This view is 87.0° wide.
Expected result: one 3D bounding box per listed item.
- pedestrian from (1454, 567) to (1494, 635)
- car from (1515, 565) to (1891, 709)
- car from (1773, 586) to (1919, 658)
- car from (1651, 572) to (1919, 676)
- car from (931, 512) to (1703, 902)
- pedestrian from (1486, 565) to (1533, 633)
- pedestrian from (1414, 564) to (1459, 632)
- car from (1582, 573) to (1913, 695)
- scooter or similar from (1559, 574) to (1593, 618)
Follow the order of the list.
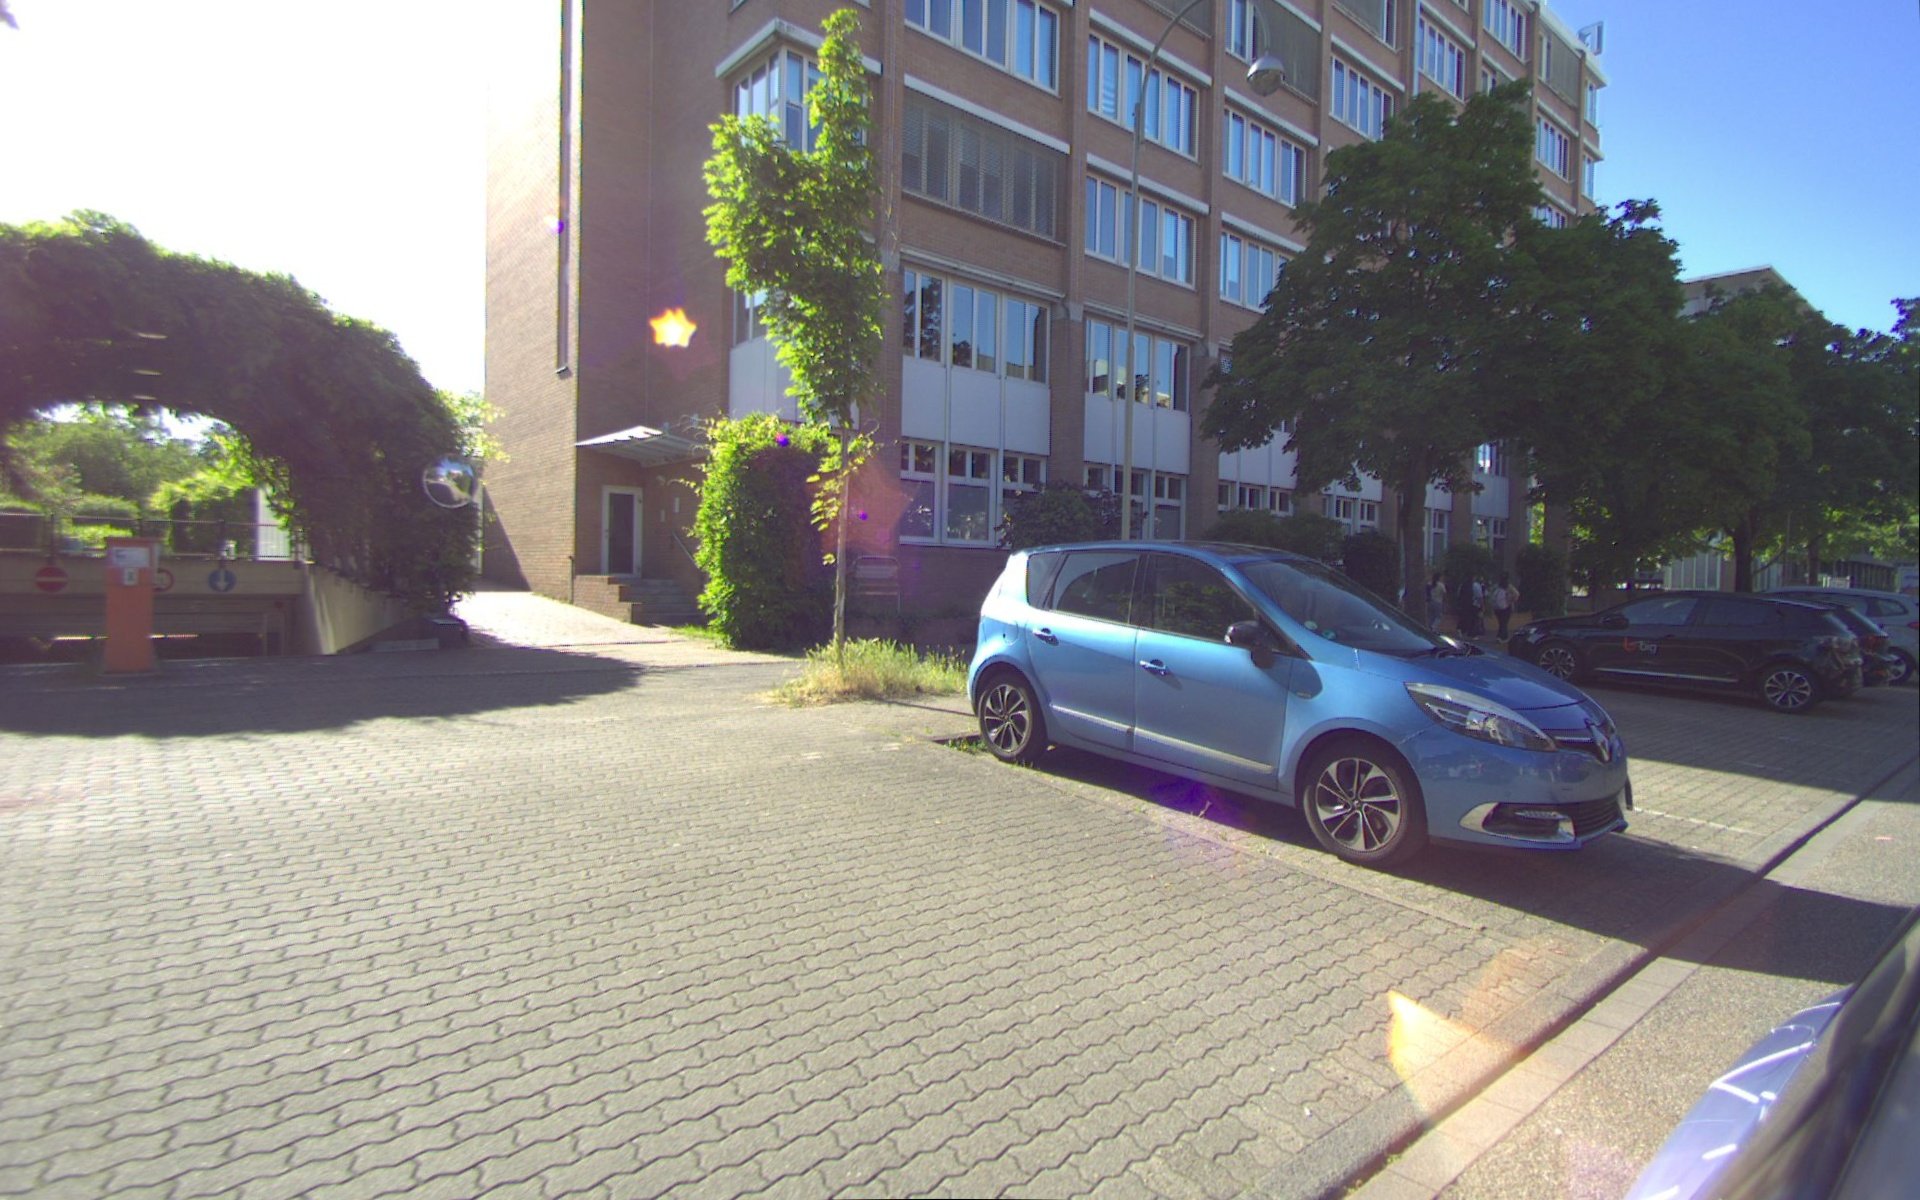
[{"bbox_3d":[11.906,0.016,23.441,0.584,1.539,0.603,0,2,-43],"label":"pedestrian"},{"bbox_3d":[10.072,0.387,13.928,1.794,1.501,3.852,1,4,-43],"label":"car"},{"bbox_3d":[21.165,0.497,23.002,1.744,1.457,3.941,0,3,-42],"label":"car"},{"bbox_3d":[15.520,0.378,18.630,4.353,1.617,1.909,4,3,44],"label":"car"},{"bbox_3d":[1.945,0.326,6.700,1.878,1.637,4.416,0,5,-41],"label":"car"},{"bbox_3d":[12.316,-0.030,22.694,0.703,1.476,0.701,0,2,-43],"label":"pedestrian"},{"bbox_3d":[11.370,-0.062,24.152,0.550,1.571,0.757,0,2,-43],"label":"pedestrian"},{"bbox_3d":[12.018,0.428,15.607,1.674,1.425,3.804,0,4,-45],"label":"car"},{"bbox_3d":[19.283,-0.134,31.662,0.549,1.342,1.777,0,0,44],"label":"scooter or similar"}]
